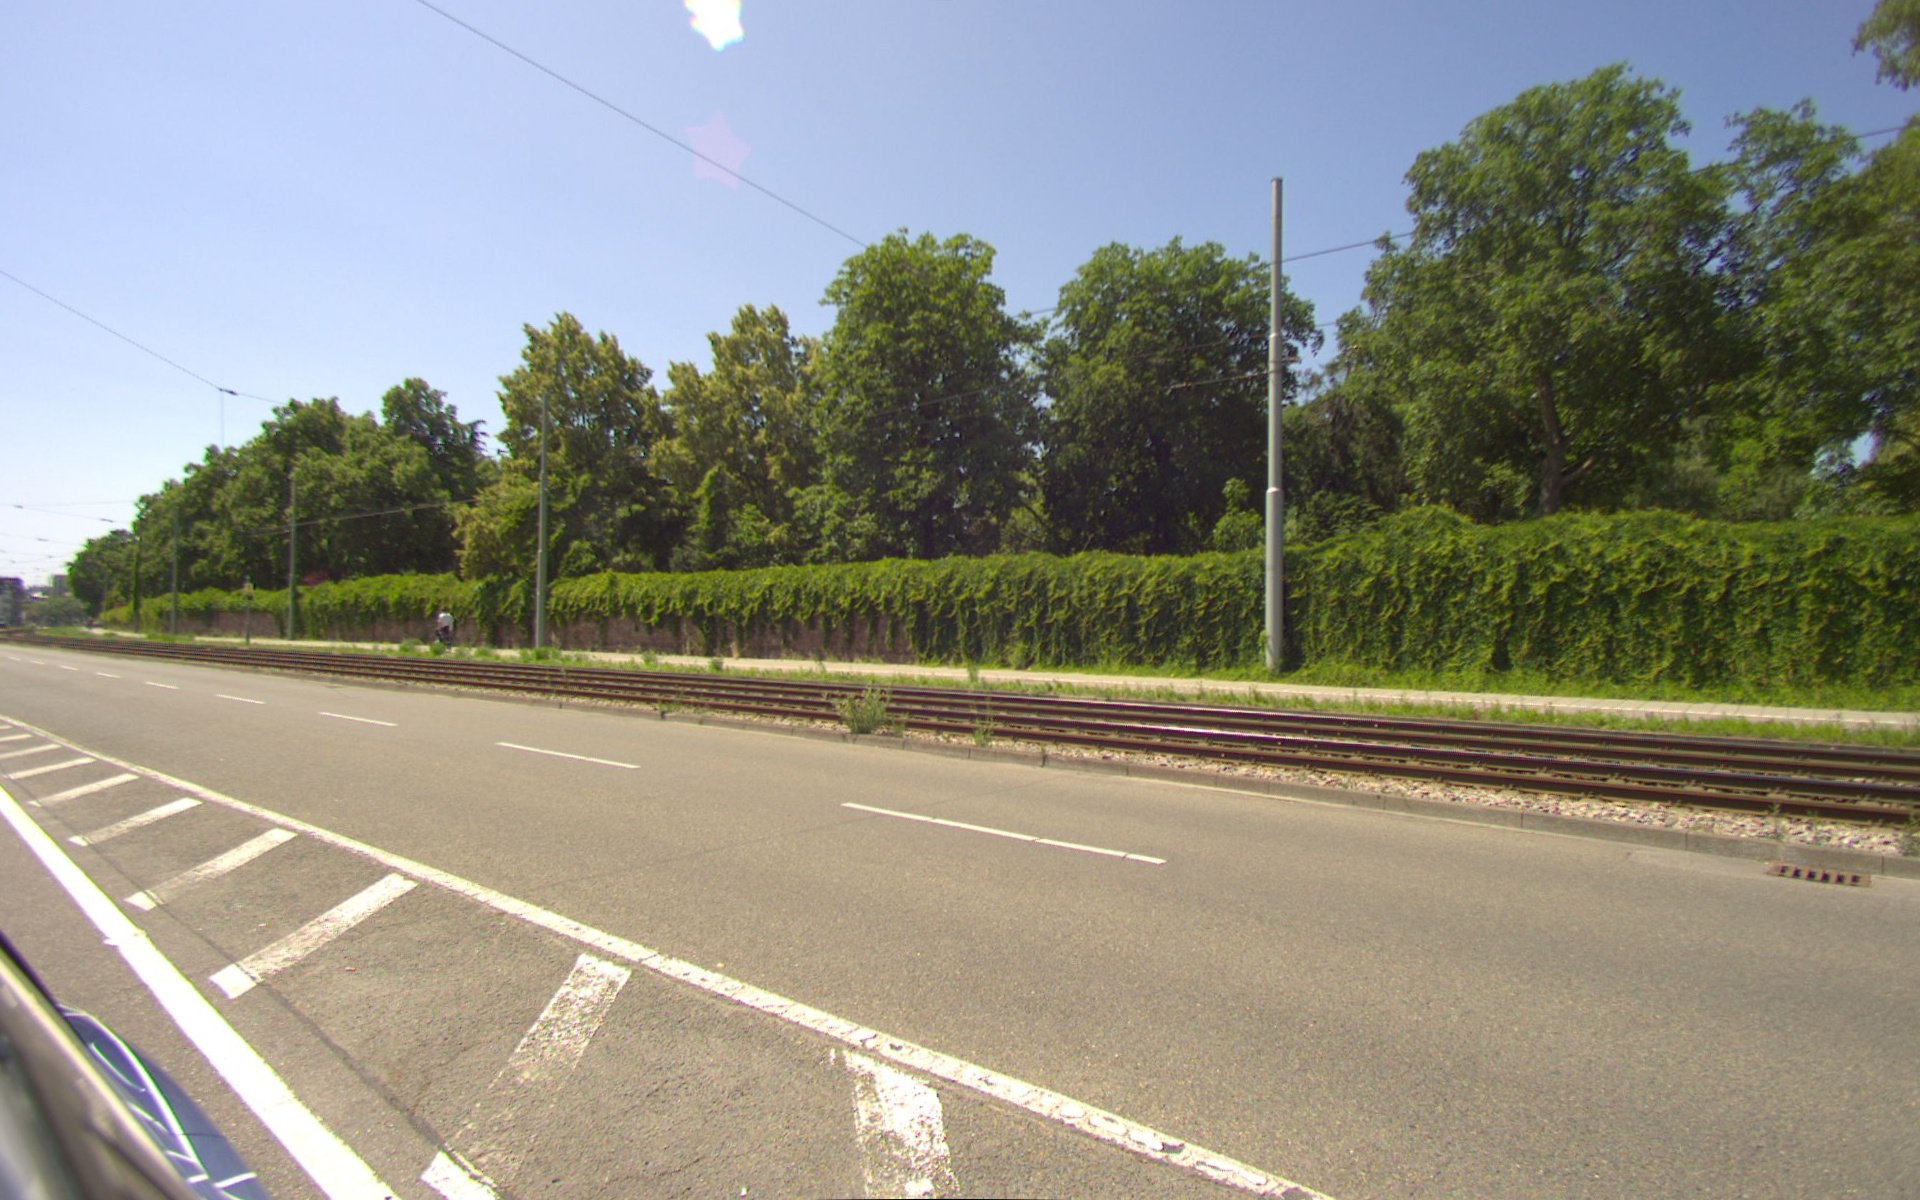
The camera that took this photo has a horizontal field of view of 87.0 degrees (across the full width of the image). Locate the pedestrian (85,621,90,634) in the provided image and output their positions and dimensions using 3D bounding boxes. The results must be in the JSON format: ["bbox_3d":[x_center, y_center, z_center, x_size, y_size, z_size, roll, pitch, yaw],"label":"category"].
[{"bbox_3d":[-108.699,3.445,126.059,0.302,1.677,0.447,-2,-1,41],"label":"pedestrian"}]

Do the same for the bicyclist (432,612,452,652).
[{"bbox_3d":[-21.000,1.284,41.003,0.768,1.624,0.477,-1,0,41],"label":"bicyclist"}]

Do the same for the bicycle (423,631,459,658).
[{"bbox_3d":[-21.066,1.790,41.052,1.977,1.063,0.610,-1,0,41],"label":"bicycle"}]
